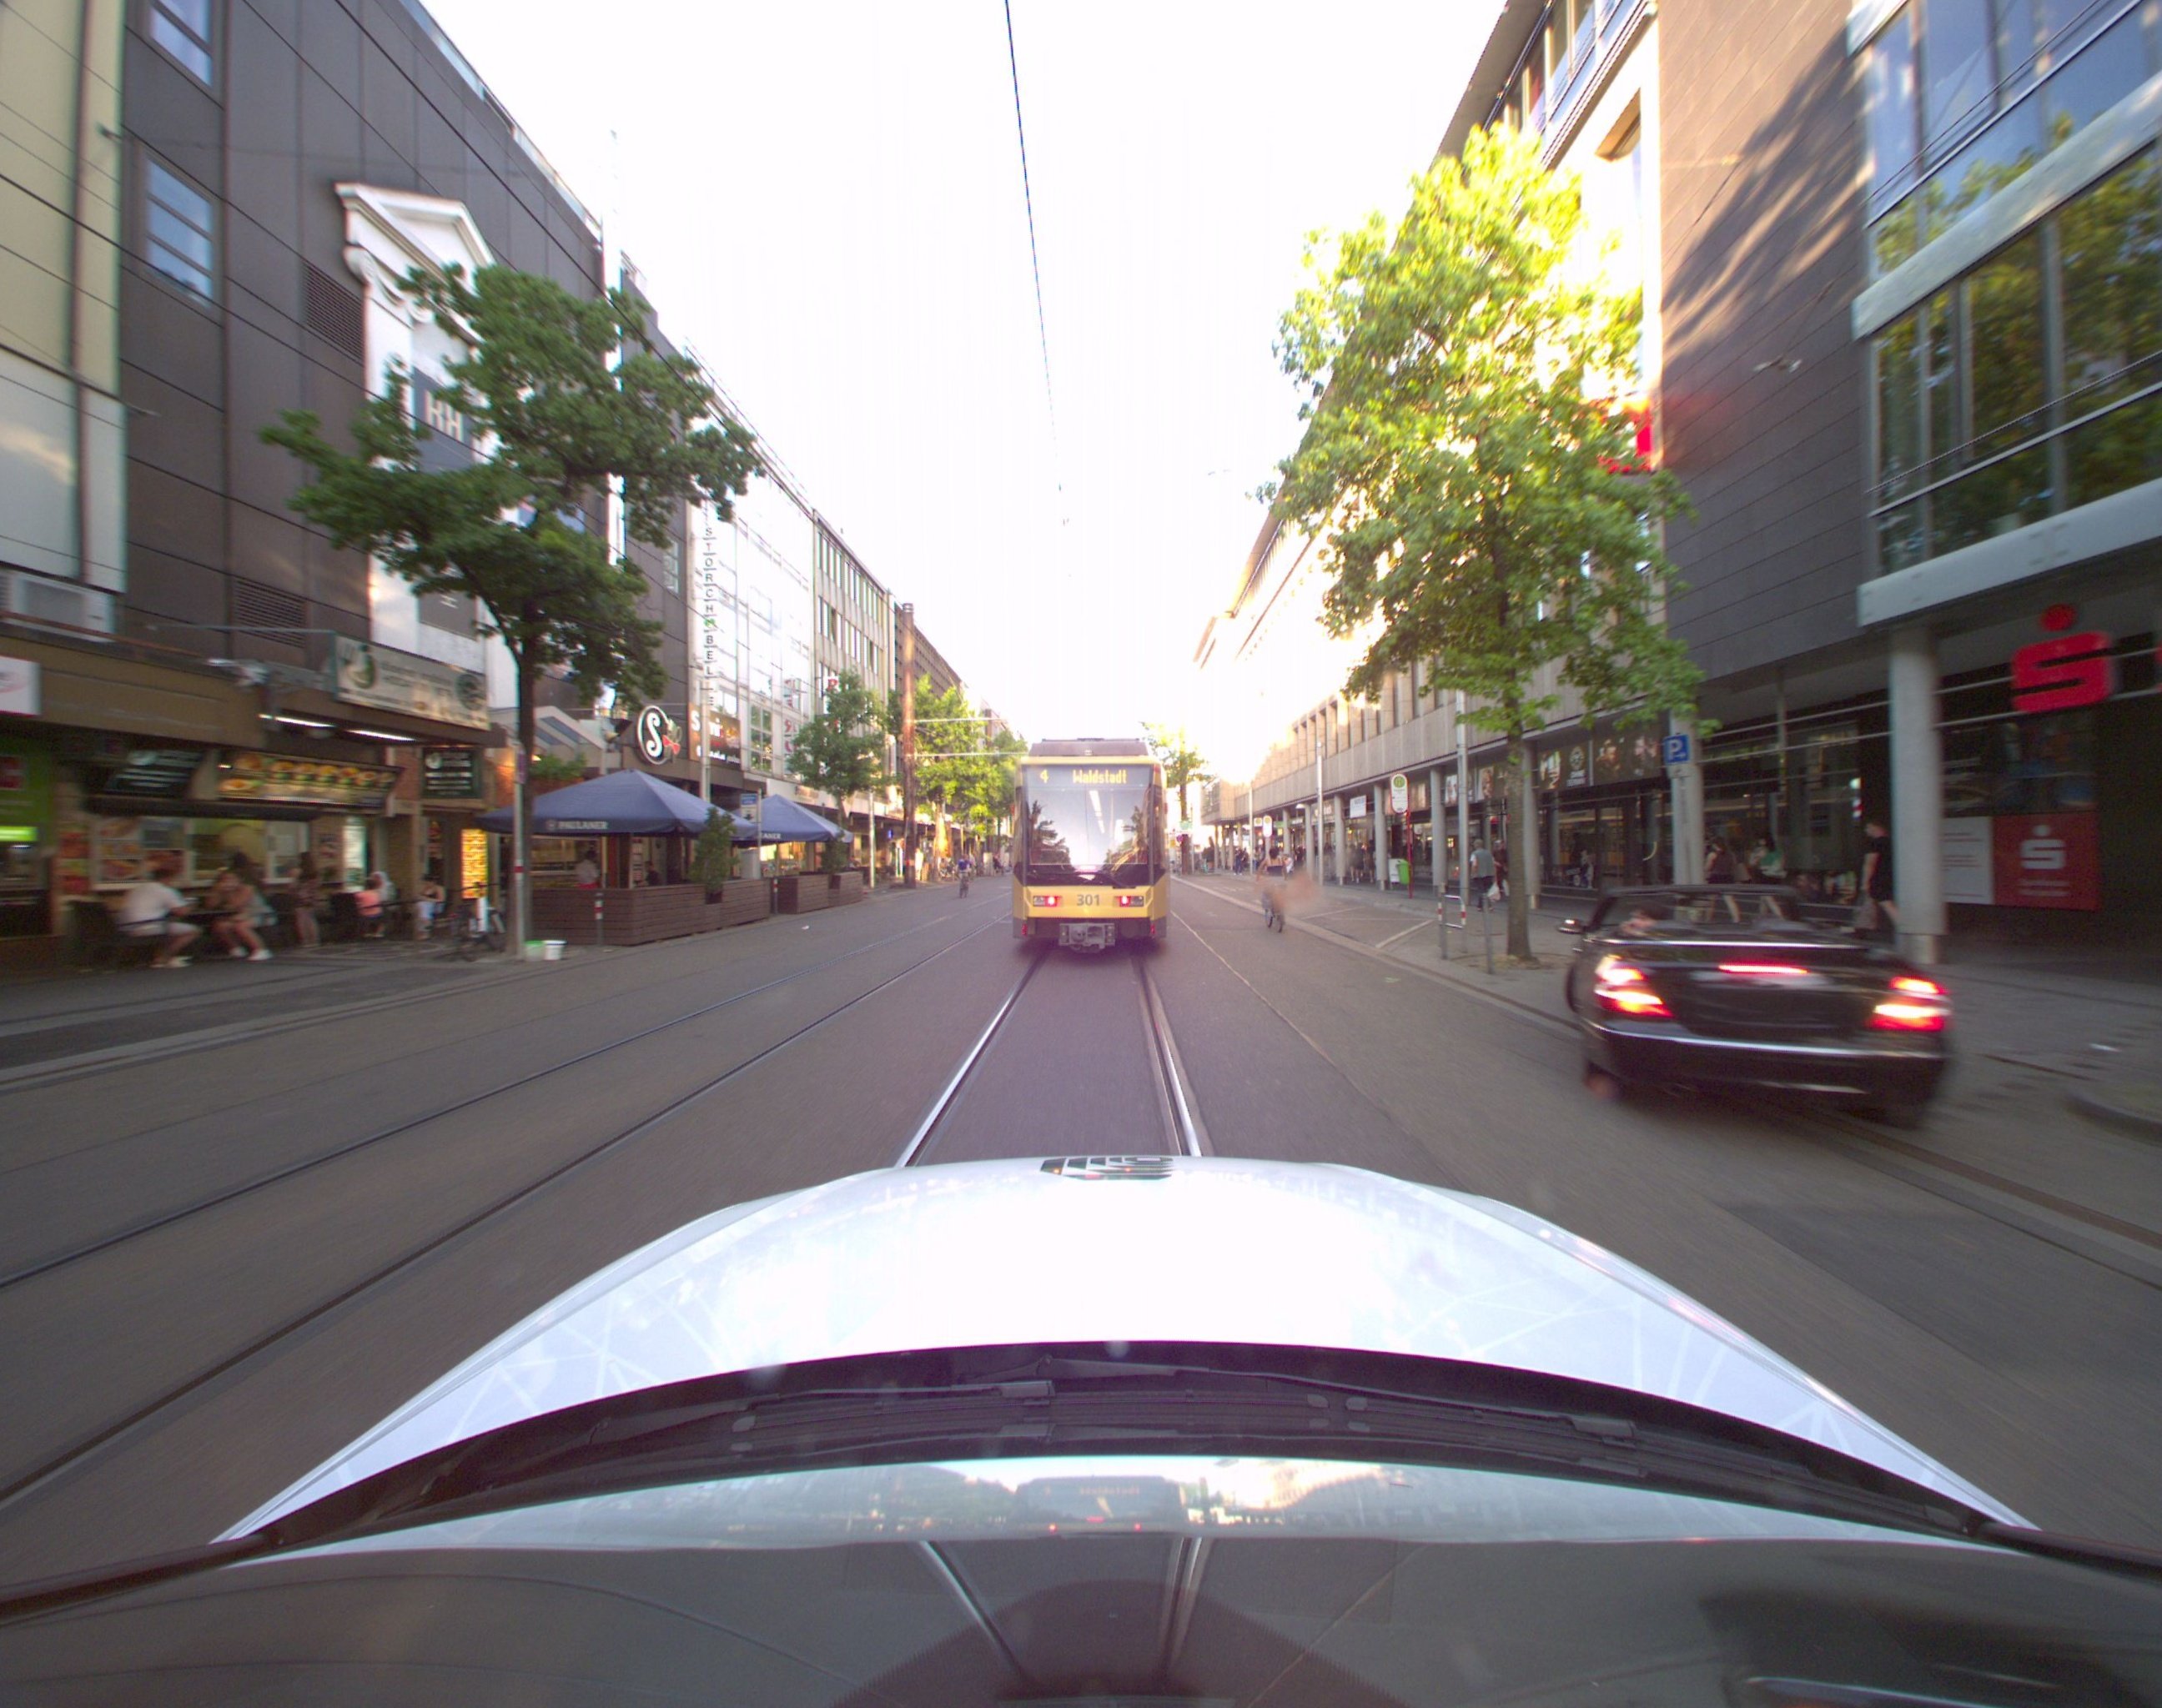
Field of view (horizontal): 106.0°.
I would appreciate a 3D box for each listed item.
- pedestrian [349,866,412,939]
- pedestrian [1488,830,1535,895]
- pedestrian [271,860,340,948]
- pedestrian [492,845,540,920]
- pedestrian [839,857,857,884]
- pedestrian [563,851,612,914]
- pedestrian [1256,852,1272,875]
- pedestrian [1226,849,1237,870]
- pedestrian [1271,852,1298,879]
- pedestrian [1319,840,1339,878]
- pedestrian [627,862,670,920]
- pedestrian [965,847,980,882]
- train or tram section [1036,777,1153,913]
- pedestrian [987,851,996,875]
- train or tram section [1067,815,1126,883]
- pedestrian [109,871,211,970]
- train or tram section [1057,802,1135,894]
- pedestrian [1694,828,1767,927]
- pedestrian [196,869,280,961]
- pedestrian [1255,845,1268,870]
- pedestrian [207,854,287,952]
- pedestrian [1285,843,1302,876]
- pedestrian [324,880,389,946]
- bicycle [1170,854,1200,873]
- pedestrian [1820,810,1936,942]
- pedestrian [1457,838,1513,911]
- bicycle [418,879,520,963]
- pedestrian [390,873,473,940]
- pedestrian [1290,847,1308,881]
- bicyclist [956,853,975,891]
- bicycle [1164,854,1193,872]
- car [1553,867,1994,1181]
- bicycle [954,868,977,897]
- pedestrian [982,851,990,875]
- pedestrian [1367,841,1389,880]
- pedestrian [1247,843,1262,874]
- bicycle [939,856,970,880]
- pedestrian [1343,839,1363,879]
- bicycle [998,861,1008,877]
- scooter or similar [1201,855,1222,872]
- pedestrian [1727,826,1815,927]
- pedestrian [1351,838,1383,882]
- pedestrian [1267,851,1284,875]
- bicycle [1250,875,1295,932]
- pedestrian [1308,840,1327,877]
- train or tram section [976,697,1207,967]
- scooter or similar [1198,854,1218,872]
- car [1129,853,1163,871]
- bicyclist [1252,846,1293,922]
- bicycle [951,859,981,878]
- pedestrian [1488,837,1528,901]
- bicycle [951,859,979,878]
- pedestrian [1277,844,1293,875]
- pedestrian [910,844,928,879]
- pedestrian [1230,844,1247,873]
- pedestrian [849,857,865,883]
[{"bbox_3d":[-12.548,0.849,14.599,0.556,1.258,0.607,1,-1,6],"label":"pedestrian"},{"bbox_3d":[12.468,0.233,23.614,0.829,1.836,0.944,-2,1,2],"label":"pedestrian"},{"bbox_3d":[-12.490,0.786,13.130,0.440,1.373,0.607,2,-1,11],"label":"pedestrian"},{"bbox_3d":[-12.387,0.615,17.872,0.601,1.597,0.561,1,-1,3],"label":"pedestrian"},{"bbox_3d":[-11.368,0.797,39.728,0.571,1.319,0.726,1,-1,2],"label":"pedestrian"},{"bbox_3d":[-10.236,0.582,16.898,0.601,1.256,0.561,2,-1,3],"label":"pedestrian"},{"bbox_3d":[10.754,0.543,47.838,0.736,1.328,0.721,-3,1,2],"label":"pedestrian"},{"bbox_3d":[11.974,0.424,64.956,0.698,1.684,0.681,-3,1,2],"label":"pedestrian"},{"bbox_3d":[10.558,0.601,42.261,1.107,1.328,0.927,-3,0,2],"label":"pedestrian"},{"bbox_3d":[12.164,0.241,39.943,0.698,1.839,0.830,-3,1,2],"label":"pedestrian"},{"bbox_3d":[-9.599,0.810,18.096,0.556,1.256,0.606,2,-1,2],"label":"pedestrian"},{"bbox_3d":[-6.027,0.579,45.309,0.749,1.880,0.575,2,-1,-3],"label":"pedestrian"},{"bbox_3d":[0.460,-0.229,26.320,2.997,3.523,10.404,0,0,1],"label":"train or tram section"},{"bbox_3d":[-6.494,0.651,58.844,0.549,1.687,0.575,2,-1,-3],"label":"pedestrian"},{"bbox_3d":[0.907,-0.230,47.636,3.033,3.523,10.532,0,0,1],"label":"train or tram section"},{"bbox_3d":[-12.064,0.852,10.689,0.509,1.242,0.661,2,-1,2],"label":"pedestrian"},{"bbox_3d":[0.679,-0.221,36.948,2.993,3.523,10.847,-1,0,1],"label":"train or tram section"},{"bbox_3d":[11.029,0.377,13.856,0.594,1.616,0.755,-3,1,1],"label":"pedestrian"},{"bbox_3d":[-12.020,0.852,11.630,0.520,1.256,0.587,2,-1,2],"label":"pedestrian"},{"bbox_3d":[12.473,0.262,56.295,0.698,1.684,0.681,-3,1,2],"label":"pedestrian"},{"bbox_3d":[-12.612,0.727,12.328,0.607,1.434,0.512,2,-1,4],"label":"pedestrian"},{"bbox_3d":[12.208,0.284,46.810,0.698,1.839,0.830,-3,1,2],"label":"pedestrian"},{"bbox_3d":[-11.956,0.954,13.440,0.448,1.029,0.666,2,-1,31],"label":"pedestrian"},{"bbox_3d":[8.352,0.768,65.657,2.322,1.472,0.790,0,-1,-2],"label":"bicycle"},{"bbox_3d":[11.348,0.299,11.625,0.874,1.782,0.755,-3,1,1],"label":"pedestrian"},{"bbox_3d":[8.944,0.438,18.053,0.874,1.581,0.755,0,1,1],"label":"pedestrian"},{"bbox_3d":[-9.543,0.993,12.800,0.815,1.103,2.148,-1,1,-24],"label":"bicycle"},{"bbox_3d":[-11.688,0.925,14.679,0.816,1.120,0.780,2,-1,11],"label":"pedestrian"},{"bbox_3d":[10.946,0.506,40.854,0.698,1.637,0.646,-3,1,2],"label":"pedestrian"},{"bbox_3d":[-4.296,0.661,30.402,0.618,1.416,0.699,0,-1,-1],"label":"bicyclist"},{"bbox_3d":[8.352,0.756,69.751,2.322,1.472,0.790,0,-1,-2],"label":"bicycle"},{"bbox_3d":[4.667,0.848,6.236,1.784,1.348,4.474,-1,0,30],"label":"car"},{"bbox_3d":[-4.298,1.040,30.415,0.639,1.023,1.588,1,0,-1],"label":"bicycle"},{"bbox_3d":[-6.932,0.664,59.485,0.573,1.687,0.551,2,-1,-8],"label":"pedestrian"},{"bbox_3d":[12.565,0.255,34.462,0.594,1.616,0.830,-3,1,2],"label":"pedestrian"},{"bbox_3d":[10.144,0.290,47.606,0.745,1.782,0.892,0,-1,5],"label":"pedestrian"},{"bbox_3d":[-7.489,0.826,48.199,1.797,1.360,0.658,2,-1,-11],"label":"bicycle"},{"bbox_3d":[12.715,0.216,38.053,0.594,1.839,0.830,-3,1,2],"label":"pedestrian"},{"bbox_3d":[-5.603,1.046,58.389,0.610,1.126,2.249,2,-1,-3],"label":"bicycle"},{"bbox_3d":[9.662,0.687,60.195,1.381,1.210,0.513,-2,-1,-12],"label":"scooter or similar"},{"bbox_3d":[11.666,0.363,13.806,0.594,1.616,1.022,-3,1,1],"label":"pedestrian"},{"bbox_3d":[12.655,0.264,36.039,1.049,1.876,0.929,-3,1,2],"label":"pedestrian"},{"bbox_3d":[10.997,0.512,46.023,0.803,1.328,0.626,-3,1,2],"label":"pedestrian"},{"bbox_3d":[3.959,0.994,16.934,0.652,1.060,2.060,1,0,6],"label":"bicycle"},{"bbox_3d":[12.064,0.240,41.530,0.698,1.839,0.706,-3,1,2],"label":"pedestrian"},{"bbox_3d":[0.242,-0.269,15.936,3.006,3.523,10.372,-1,0,1],"label":"train or tram section"},{"bbox_3d":[9.525,0.671,61.089,1.378,1.250,0.555,-2,-1,-6],"label":"scooter or similar"},{"bbox_3d":[6.267,0.767,78.077,1.627,1.594,3.944,-1,-1,30],"label":"car"},{"bbox_3d":[3.958,0.609,16.858,0.723,1.527,0.734,1,-1,5],"label":"bicyclist"},{"bbox_3d":[-7.040,0.902,49.947,1.730,1.126,0.612,2,-1,-5],"label":"bicycle"},{"bbox_3d":[11.067,0.378,21.127,0.594,1.616,0.756,-3,1,2],"label":"pedestrian"},{"bbox_3d":[-7.457,0.934,52.386,1.729,1.126,0.563,2,-1,-2],"label":"bicycle"},{"bbox_3d":[12.688,0.326,50.613,0.698,1.839,0.830,-3,1,2],"label":"pedestrian"},{"bbox_3d":[-9.431,0.460,47.439,0.846,2.014,0.922,0,-1,1],"label":"pedestrian"},{"bbox_3d":[9.842,0.284,50.819,0.885,1.782,0.751,0,-1,0],"label":"pedestrian"},{"bbox_3d":[-11.276,0.806,41.011,0.571,1.319,0.726,1,-1,2],"label":"pedestrian"}]
